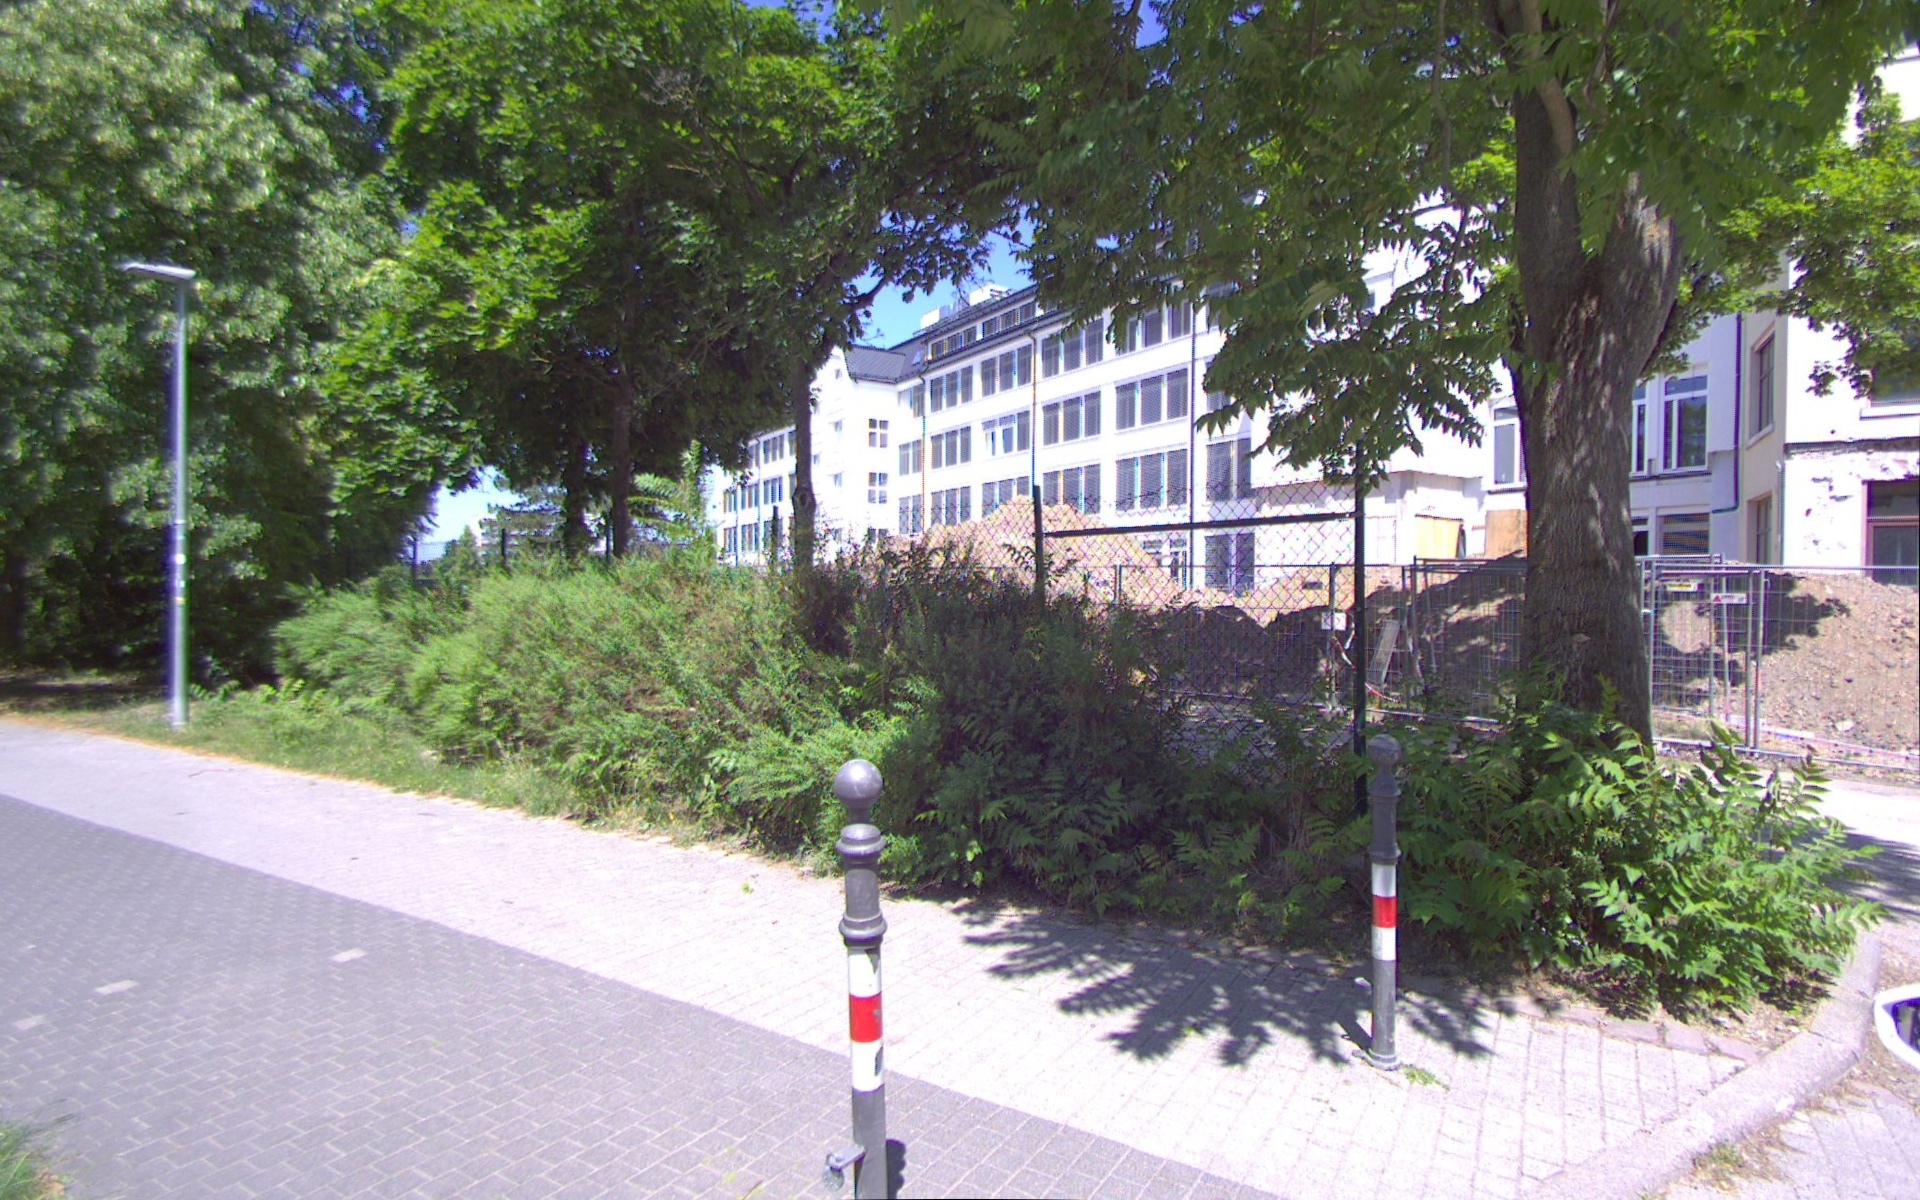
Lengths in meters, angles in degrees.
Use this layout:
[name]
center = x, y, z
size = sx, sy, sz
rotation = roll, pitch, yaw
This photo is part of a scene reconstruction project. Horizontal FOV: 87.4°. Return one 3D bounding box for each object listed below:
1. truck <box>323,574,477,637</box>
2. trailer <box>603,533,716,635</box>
[truck]
center = -18.880, 0.210, 33.958
size = 4.407, 2.021, 1.983
rotation = 1, 0, -31
[trailer]
center = -11.778, -0.565, 38.767
size = 3.000, 3.467, 8.718
rotation = 1, 0, -24
